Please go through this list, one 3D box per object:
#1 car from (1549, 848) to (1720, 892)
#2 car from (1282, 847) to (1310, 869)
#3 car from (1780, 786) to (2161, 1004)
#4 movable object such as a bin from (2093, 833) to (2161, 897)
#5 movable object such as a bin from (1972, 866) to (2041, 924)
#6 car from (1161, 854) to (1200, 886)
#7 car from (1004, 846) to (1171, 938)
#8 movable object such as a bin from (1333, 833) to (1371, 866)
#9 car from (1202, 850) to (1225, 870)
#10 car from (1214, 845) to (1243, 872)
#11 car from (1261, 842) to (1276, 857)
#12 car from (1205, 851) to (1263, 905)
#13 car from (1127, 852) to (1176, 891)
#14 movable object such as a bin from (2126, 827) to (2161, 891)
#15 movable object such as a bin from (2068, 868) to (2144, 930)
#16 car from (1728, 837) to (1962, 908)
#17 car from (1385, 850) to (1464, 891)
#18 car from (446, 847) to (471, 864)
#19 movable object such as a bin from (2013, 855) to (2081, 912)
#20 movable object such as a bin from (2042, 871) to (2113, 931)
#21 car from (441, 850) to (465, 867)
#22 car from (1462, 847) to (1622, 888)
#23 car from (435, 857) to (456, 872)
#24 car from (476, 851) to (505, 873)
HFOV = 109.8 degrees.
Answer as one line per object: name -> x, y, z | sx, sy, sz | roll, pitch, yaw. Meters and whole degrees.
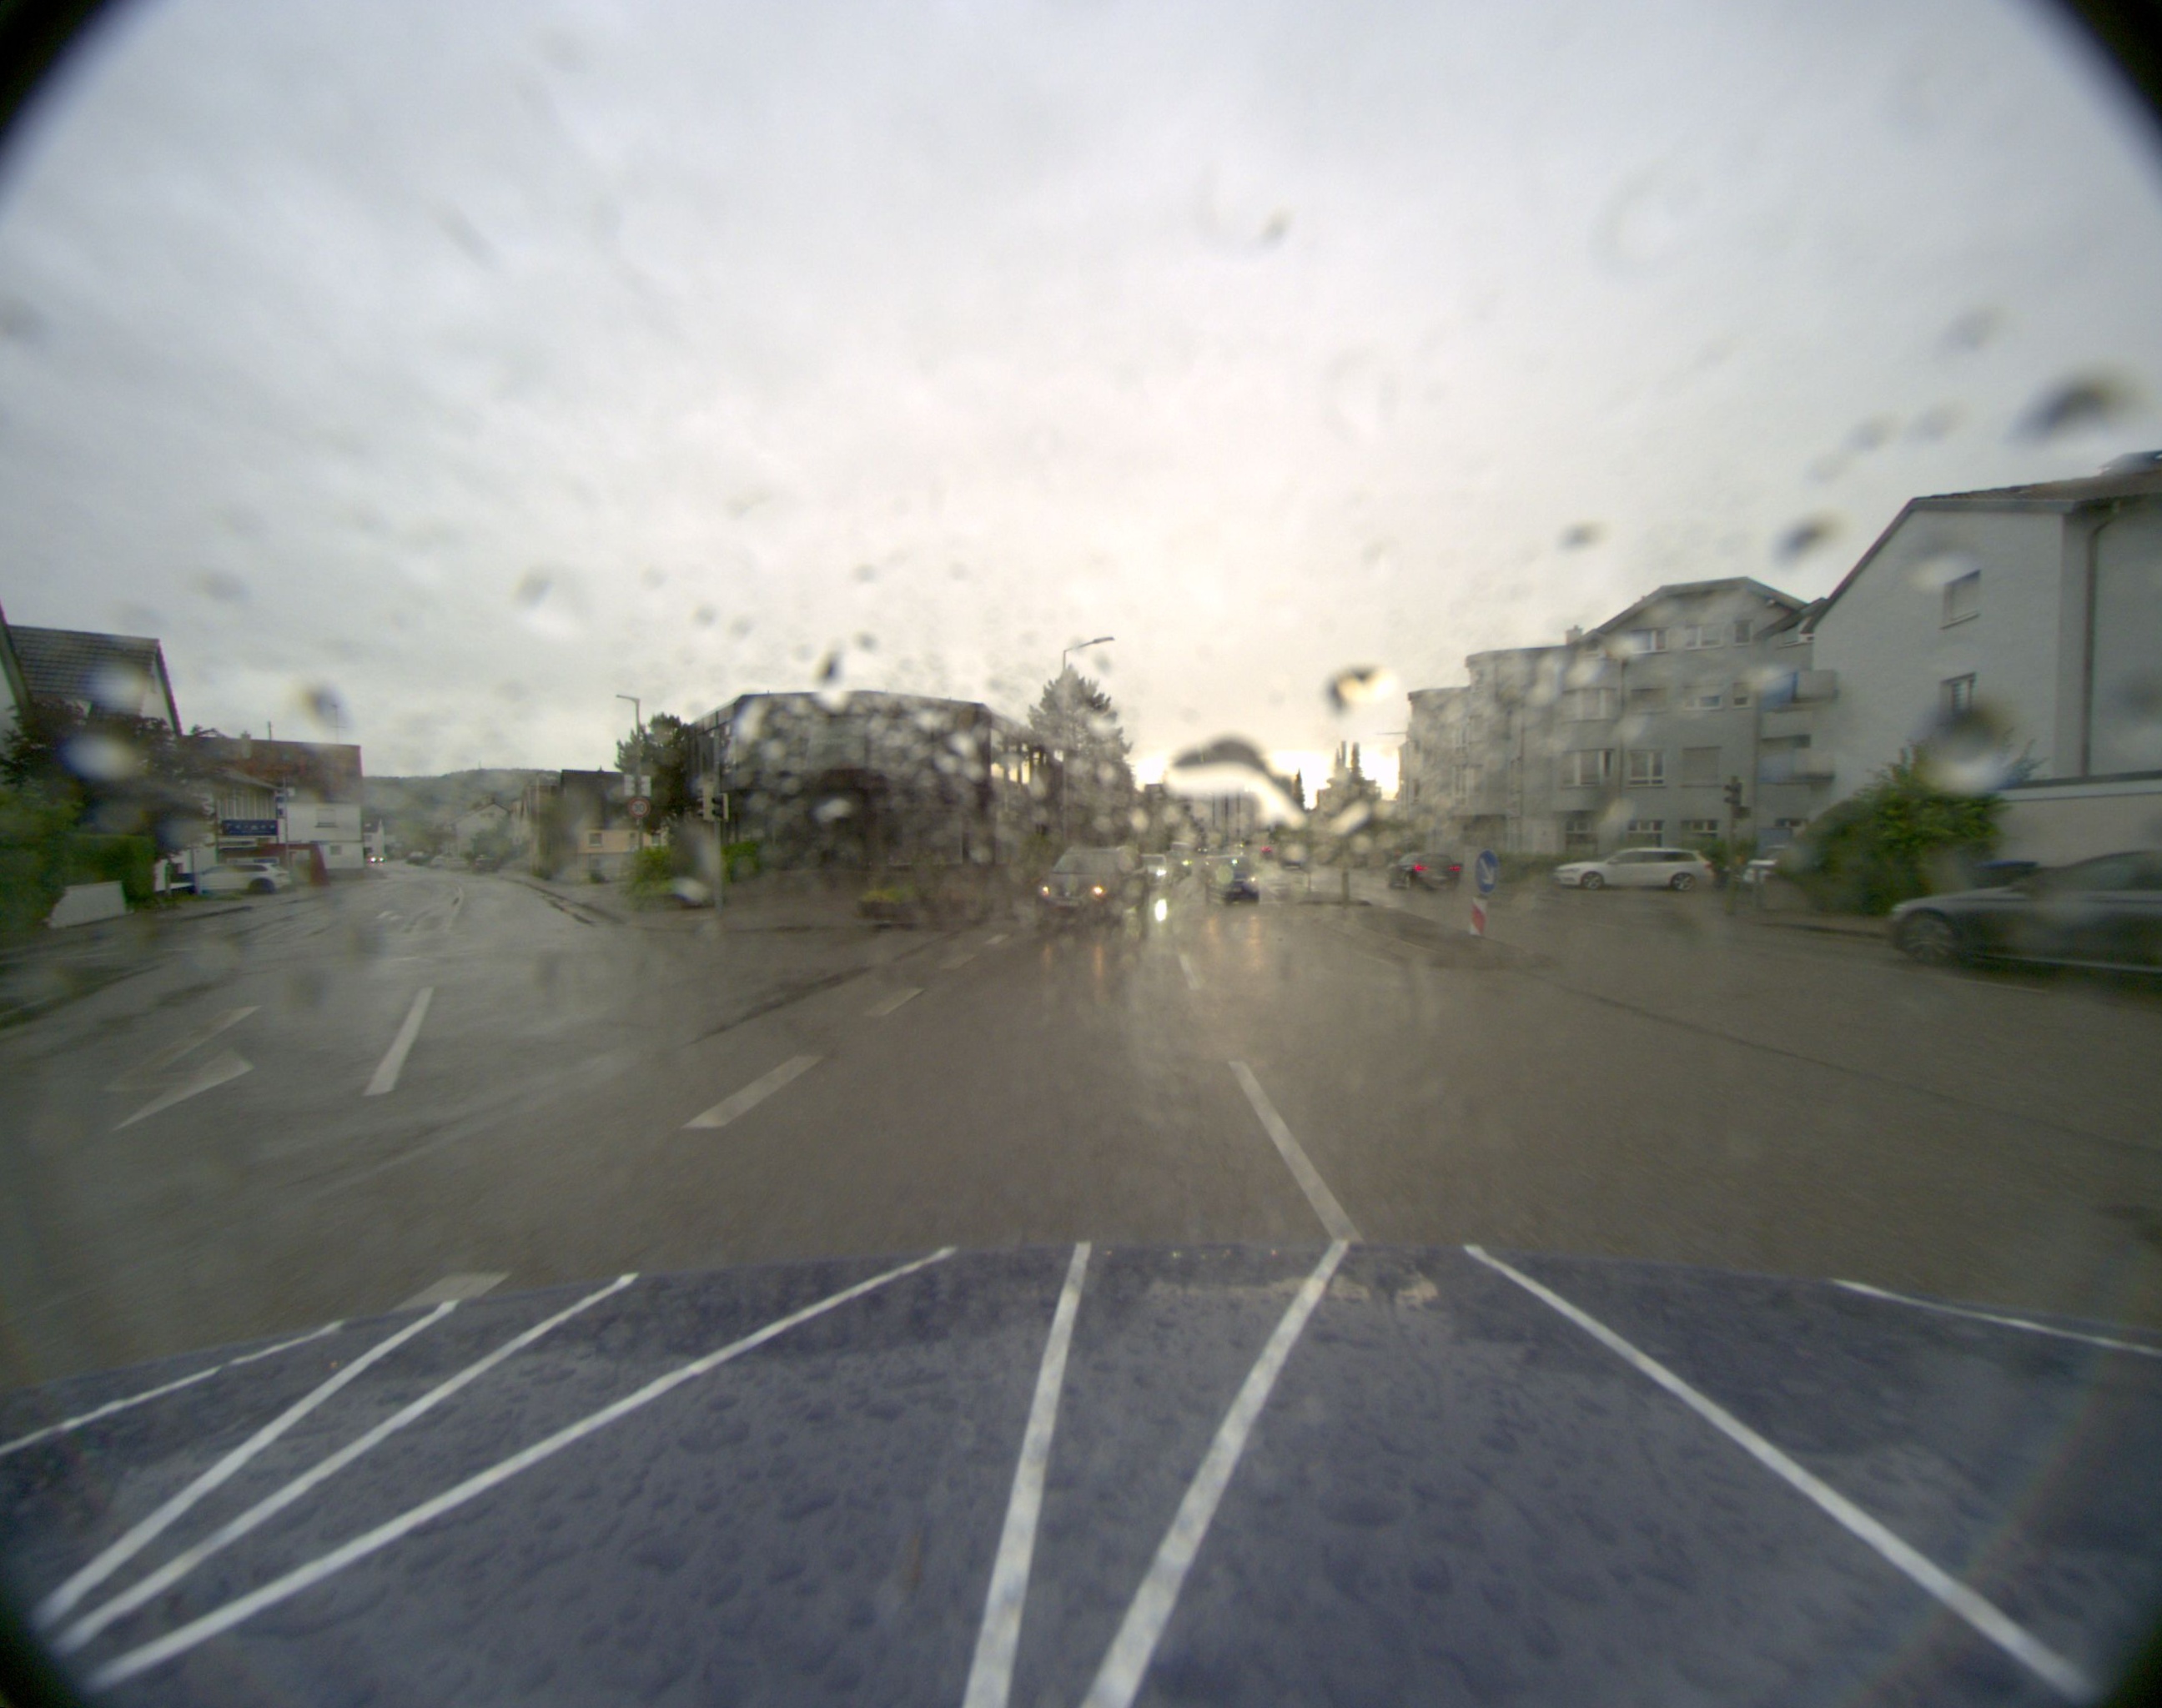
car -> 19.796, 0.553, 27.425 | 4.617, 1.488, 1.931 | 0, 1, 16
car -> 18.577, 0.311, 65.746 | 2.100, 1.822, 4.737 | -1, 1, 13
car -> 11.043, 0.394, 7.922 | 2.095, 2.002, 5.980 | 1, 0, 2
movable object such as a bin -> 16.558, 0.169, 11.967 | 0.499, 0.955, 0.535 | -5, 1, 20
movable object such as a bin -> 17.333, 0.761, 14.242 | 0.499, 1.013, 0.688 | -5, 1, 21
car -> 6.134, 0.957, 47.218 | 1.998, 1.849, 4.000 | 1, 1, 2
car -> 0.327, 0.735, 17.407 | 1.995, 1.739, 4.656 | -1, 1, 26
movable object such as a bin -> 24.068, -0.397, 67.465 | 2.920, 2.825, 2.200 | 0, 1, 26
car -> 12.983, 0.572, 74.292 | 1.996, 1.849, 4.003 | 1, 1, 13
car -> 11.223, 0.316, 57.673 | 1.996, 2.002, 4.004 | -1, 1, 14
car -> 26.374, -0.625, 106.974 | 1.996, 2.002, 4.004 | -1, 1, 13
car -> 4.784, 0.713, 24.078 | 1.650, 1.547, 3.353 | -1, 1, 9
car -> 3.036, 0.675, 31.921 | 1.828, 1.431, 4.347 | -1, 1, 8
movable object such as a bin -> 16.352, 0.072, 11.419 | 0.499, 0.955, 0.602 | 0, 1, 20
movable object such as a bin -> 16.824, 0.733, 12.482 | 0.499, 0.955, 0.535 | -5, 1, 20
car -> 20.072, 0.463, 20.176 | 3.992, 1.740, 1.831 | -1, 1, 17
car -> 13.357, 0.594, 29.800 | 1.791, 1.464, 4.166 | -1, 1, 9
car -> -72.794, 0.152, 88.800 | 2.004, 2.002, 3.988 | -1, 1, -42
movable object such as a bin -> 17.205, 0.524, 13.543 | 0.499, 0.955, 0.535 | -5, 1, 20
movable object such as a bin -> 17.013, 0.799, 12.982 | 0.499, 0.955, 0.535 | -5, 1, 20
car -> -77.481, 0.537, 93.709 | 2.004, 2.002, 3.988 | -1, 1, -43
car -> 19.588, 0.563, 32.570 | 5.472, 1.674, 2.149 | -1, 1, 10
car -> -87.993, 1.381, 105.226 | 2.004, 2.002, 3.988 | -1, 1, -43
car -> -57.773, 0.748, 74.305 | 2.004, 2.002, 3.988 | -1, 1, -41
